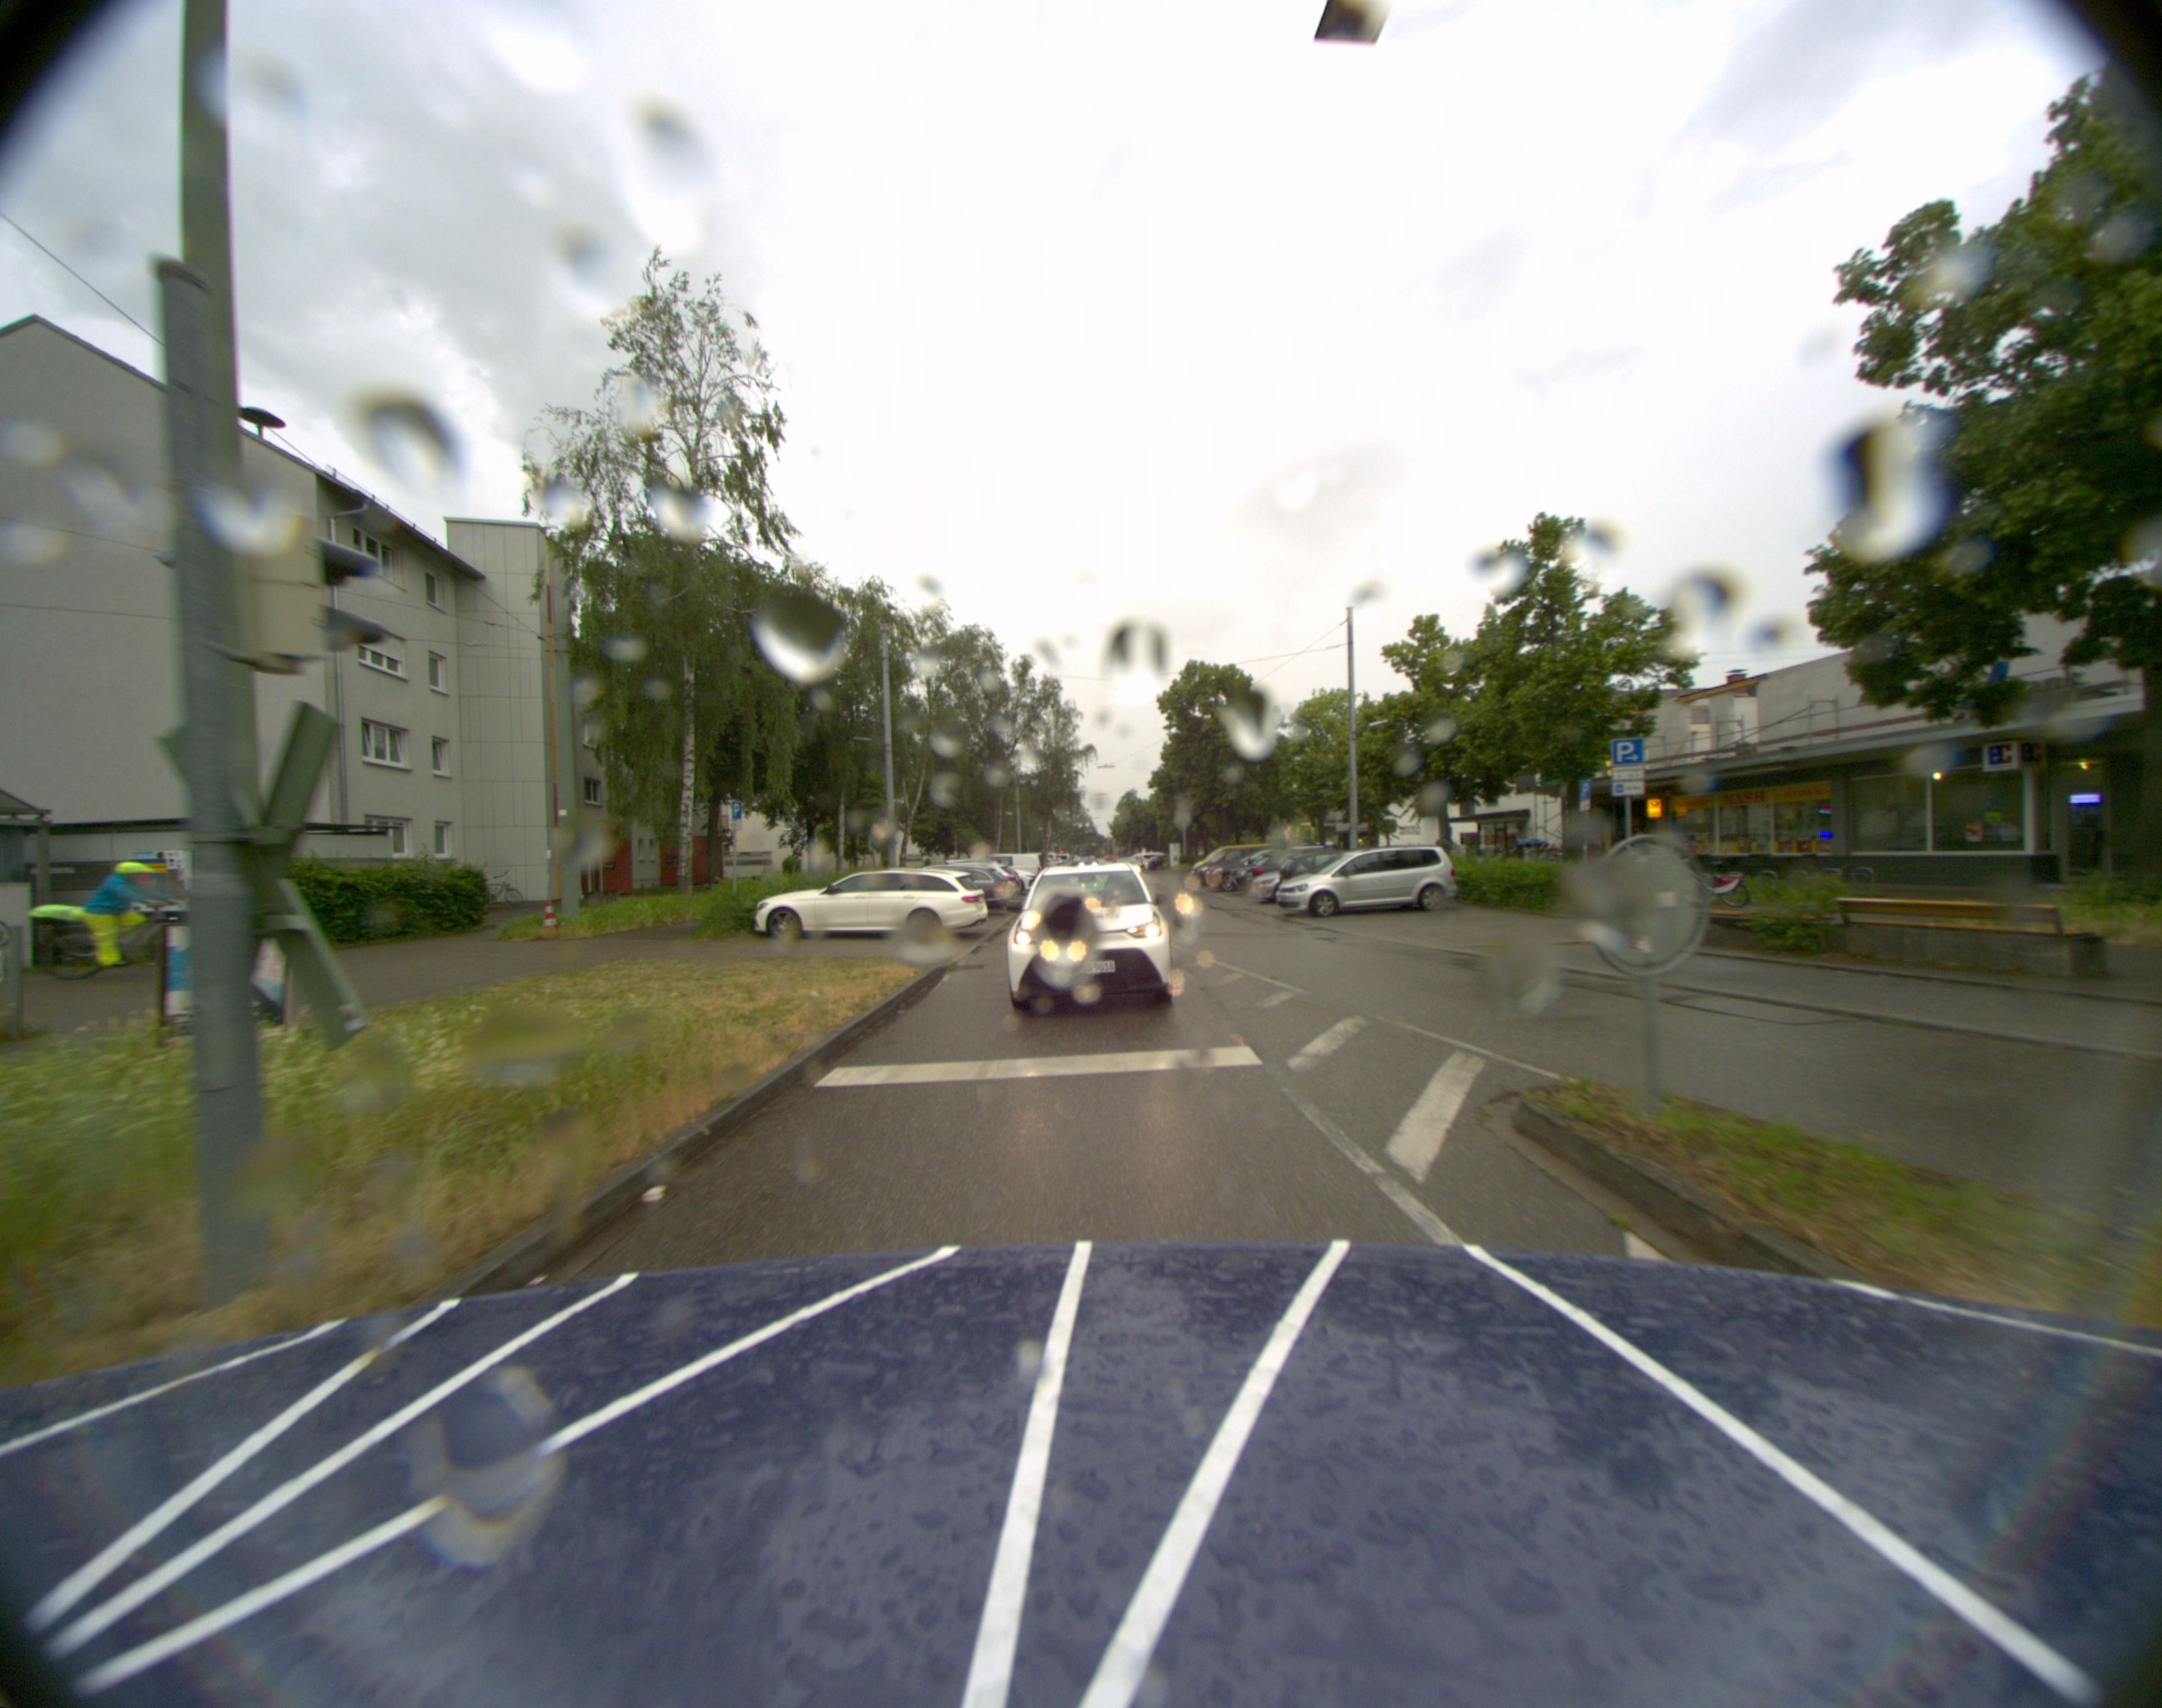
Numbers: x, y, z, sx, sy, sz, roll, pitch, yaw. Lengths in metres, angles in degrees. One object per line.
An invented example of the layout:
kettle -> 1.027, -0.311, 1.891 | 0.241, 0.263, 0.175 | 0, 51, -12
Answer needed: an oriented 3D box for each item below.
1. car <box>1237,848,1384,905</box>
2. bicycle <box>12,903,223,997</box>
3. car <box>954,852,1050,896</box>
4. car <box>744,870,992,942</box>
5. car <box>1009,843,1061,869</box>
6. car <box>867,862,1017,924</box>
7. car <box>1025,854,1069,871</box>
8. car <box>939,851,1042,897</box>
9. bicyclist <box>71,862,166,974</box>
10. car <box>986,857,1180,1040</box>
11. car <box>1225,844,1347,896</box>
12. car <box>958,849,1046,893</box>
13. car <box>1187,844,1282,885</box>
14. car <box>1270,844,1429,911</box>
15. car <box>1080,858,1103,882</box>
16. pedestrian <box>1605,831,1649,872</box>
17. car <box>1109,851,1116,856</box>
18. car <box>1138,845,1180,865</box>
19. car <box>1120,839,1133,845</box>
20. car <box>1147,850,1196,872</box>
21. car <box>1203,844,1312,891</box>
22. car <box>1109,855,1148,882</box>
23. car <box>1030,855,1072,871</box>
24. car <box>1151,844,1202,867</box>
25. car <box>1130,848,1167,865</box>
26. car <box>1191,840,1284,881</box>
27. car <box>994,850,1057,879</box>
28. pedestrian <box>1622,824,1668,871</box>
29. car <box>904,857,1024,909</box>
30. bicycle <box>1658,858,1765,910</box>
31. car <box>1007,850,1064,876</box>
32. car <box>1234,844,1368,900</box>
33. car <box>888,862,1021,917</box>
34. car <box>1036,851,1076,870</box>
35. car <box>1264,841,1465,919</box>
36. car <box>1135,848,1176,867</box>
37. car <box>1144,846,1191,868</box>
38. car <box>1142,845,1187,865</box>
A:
car -> 7.316, 0.702, 24.562 | 4.088, 1.562, 2.000 | -3, 0, 0
bicycle -> -13.710, 1.320, 10.905 | 1.757, 1.123, 0.726 | -2, -1, -42
car -> -3.874, 0.971, 37.767 | 4.441, 1.835, 1.723 | -4, 1, 2
car -> -4.513, 1.089, 16.640 | 4.838, 1.449, 2.000 | 0, 0, 1
car -> -4.041, 0.171, 67.360 | 4.443, 2.050, 1.722 | -4, 1, -2
car -> -4.050, 1.126, 22.591 | 3.996, 1.477, 1.723 | -4, 1, 2
car -> -3.637, 0.895, 81.755 | 4.546, 1.574, 1.899 | -3, 0, 0
car -> -4.164, 0.905, 35.457 | 4.441, 1.835, 1.723 | -4, 1, 2
bicyclist -> -13.748, 0.894, 10.877 | 0.700, 1.507, 0.723 | -2, 0, -42
car -> 0.124, 0.922, 8.835 | 1.719, 1.613, 3.717 | -2, -2, 3
car -> 7.756, 0.590, 29.038 | 4.088, 1.699, 1.899 | -3, 0, 0
car -> -4.160, 0.884, 40.709 | 4.443, 2.050, 1.722 | -4, 1, -2
car -> 7.667, 0.523, 38.157 | 4.302, 1.799, 1.899 | -3, 0, 0
car -> 7.728, 0.651, 22.122 | 3.945, 1.664, 1.793 | -3, 0, 0
car -> 0.969, 1.469, 71.791 | 1.999, 2.002, 3.999 | -4, 0, 0
pedestrian -> 21.475, -0.112, 29.902 | 1.078, 1.575, 0.948 | -1, 2, 12
car -> 9.326, -0.123, 223.822 | 1.998, 1.320, 4.000 | -4, 0, 1
car -> 8.805, 0.113, 86.101 | 4.546, 1.932, 1.899 | -3, 0, 0
car -> 14.588, -3.854, 245.106 | 3.997, 1.688, 2.000 | -4, 1, 1
car -> 8.943, 0.731, 75.435 | 4.546, 1.932, 1.899 | -3, 0, 0
car -> 7.395, 0.546, 32.097 | 4.088, 1.699, 1.899 | -3, 0, 0
car -> 3.233, 0.970, 52.379 | 1.963, 1.544, 3.996 | -3, 2, -6
car -> -3.330, 0.995, 85.128 | 4.546, 1.574, 1.899 | -3, 0, 0
car -> 9.124, 0.151, 72.566 | 4.546, 1.932, 1.899 | -3, 0, 0
car -> 8.709, 0.369, 98.304 | 4.546, 1.932, 1.899 | -3, 0, 0
car -> 8.388, 0.338, 41.086 | 4.546, 1.932, 1.899 | -3, 0, 0
car -> -4.165, 0.805, 57.667 | 4.546, 1.932, 1.899 | -3, 0, 0
pedestrian -> 21.266, -0.253, 28.684 | 1.078, 1.704, 0.948 | -1, 2, 12
car -> -4.229, 1.021, 27.830 | 3.996, 1.576, 1.723 | -4, 1, 2
bicycle -> 13.685, 0.617, 16.545 | 0.594, 1.066, 1.748 | -1, 0, -17
car -> -3.745, 0.743, 63.021 | 4.546, 1.932, 1.899 | -3, 0, 0
car -> 7.703, 0.618, 26.878 | 4.088, 1.699, 1.899 | -3, 0, 0
car -> -4.139, 1.151, 25.243 | 3.996, 1.477, 1.723 | -4, 1, 2
car -> -2.891, 0.720, 88.757 | 4.546, 2.013, 1.899 | -3, 0, 0
car -> 7.130, 0.631, 19.451 | 4.335, 1.664, 2.000 | -3, 0, 0
car -> 8.803, 0.394, 90.108 | 4.546, 1.932, 1.899 | -3, 0, 0
car -> 8.820, 0.292, 77.973 | 4.546, 1.932, 1.899 | -3, 0, 0
car -> 8.998, 0.117, 82.385 | 4.546, 1.932, 1.899 | -3, 0, 0
